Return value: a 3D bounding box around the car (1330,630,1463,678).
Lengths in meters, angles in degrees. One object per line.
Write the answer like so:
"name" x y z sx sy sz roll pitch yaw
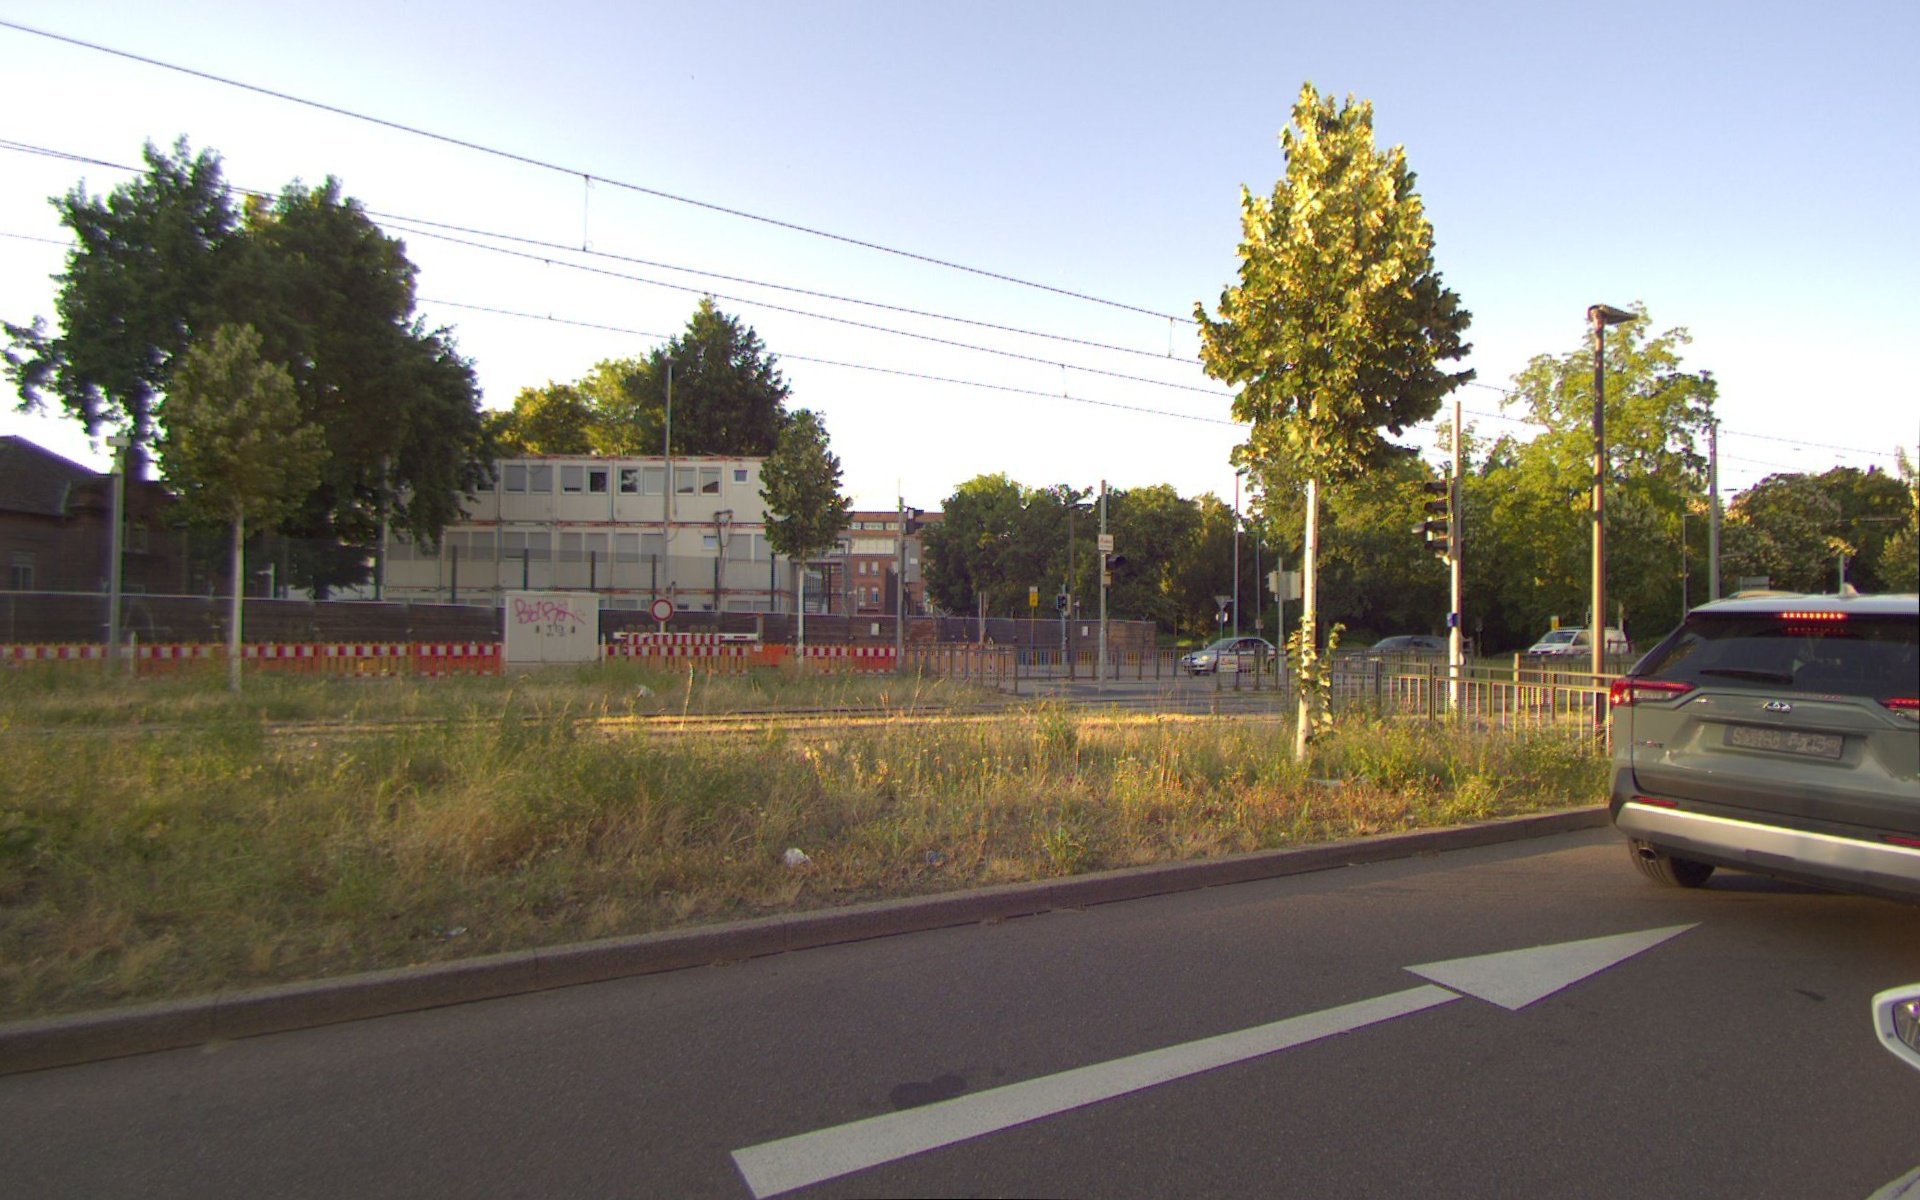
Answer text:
"car" 15.402 1.846 35.433 4.466 1.501 1.985 0 0 -28

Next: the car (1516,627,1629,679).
"car" 27.993 2.374 45.878 4.680 2.197 1.990 0 0 -21

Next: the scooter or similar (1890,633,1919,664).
"scooter or similar" 35.683 1.815 37.500 1.312 1.168 0.512 -1 -2 36

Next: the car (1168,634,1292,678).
"car" 10.336 2.102 38.367 4.466 1.501 1.985 0 0 -28

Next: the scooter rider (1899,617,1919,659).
"scooter rider" 35.710 1.418 37.531 0.810 1.534 0.651 -1 -2 35

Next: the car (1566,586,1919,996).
"car" 5.470 0.790 5.649 4.220 1.681 1.844 0 0 -32
